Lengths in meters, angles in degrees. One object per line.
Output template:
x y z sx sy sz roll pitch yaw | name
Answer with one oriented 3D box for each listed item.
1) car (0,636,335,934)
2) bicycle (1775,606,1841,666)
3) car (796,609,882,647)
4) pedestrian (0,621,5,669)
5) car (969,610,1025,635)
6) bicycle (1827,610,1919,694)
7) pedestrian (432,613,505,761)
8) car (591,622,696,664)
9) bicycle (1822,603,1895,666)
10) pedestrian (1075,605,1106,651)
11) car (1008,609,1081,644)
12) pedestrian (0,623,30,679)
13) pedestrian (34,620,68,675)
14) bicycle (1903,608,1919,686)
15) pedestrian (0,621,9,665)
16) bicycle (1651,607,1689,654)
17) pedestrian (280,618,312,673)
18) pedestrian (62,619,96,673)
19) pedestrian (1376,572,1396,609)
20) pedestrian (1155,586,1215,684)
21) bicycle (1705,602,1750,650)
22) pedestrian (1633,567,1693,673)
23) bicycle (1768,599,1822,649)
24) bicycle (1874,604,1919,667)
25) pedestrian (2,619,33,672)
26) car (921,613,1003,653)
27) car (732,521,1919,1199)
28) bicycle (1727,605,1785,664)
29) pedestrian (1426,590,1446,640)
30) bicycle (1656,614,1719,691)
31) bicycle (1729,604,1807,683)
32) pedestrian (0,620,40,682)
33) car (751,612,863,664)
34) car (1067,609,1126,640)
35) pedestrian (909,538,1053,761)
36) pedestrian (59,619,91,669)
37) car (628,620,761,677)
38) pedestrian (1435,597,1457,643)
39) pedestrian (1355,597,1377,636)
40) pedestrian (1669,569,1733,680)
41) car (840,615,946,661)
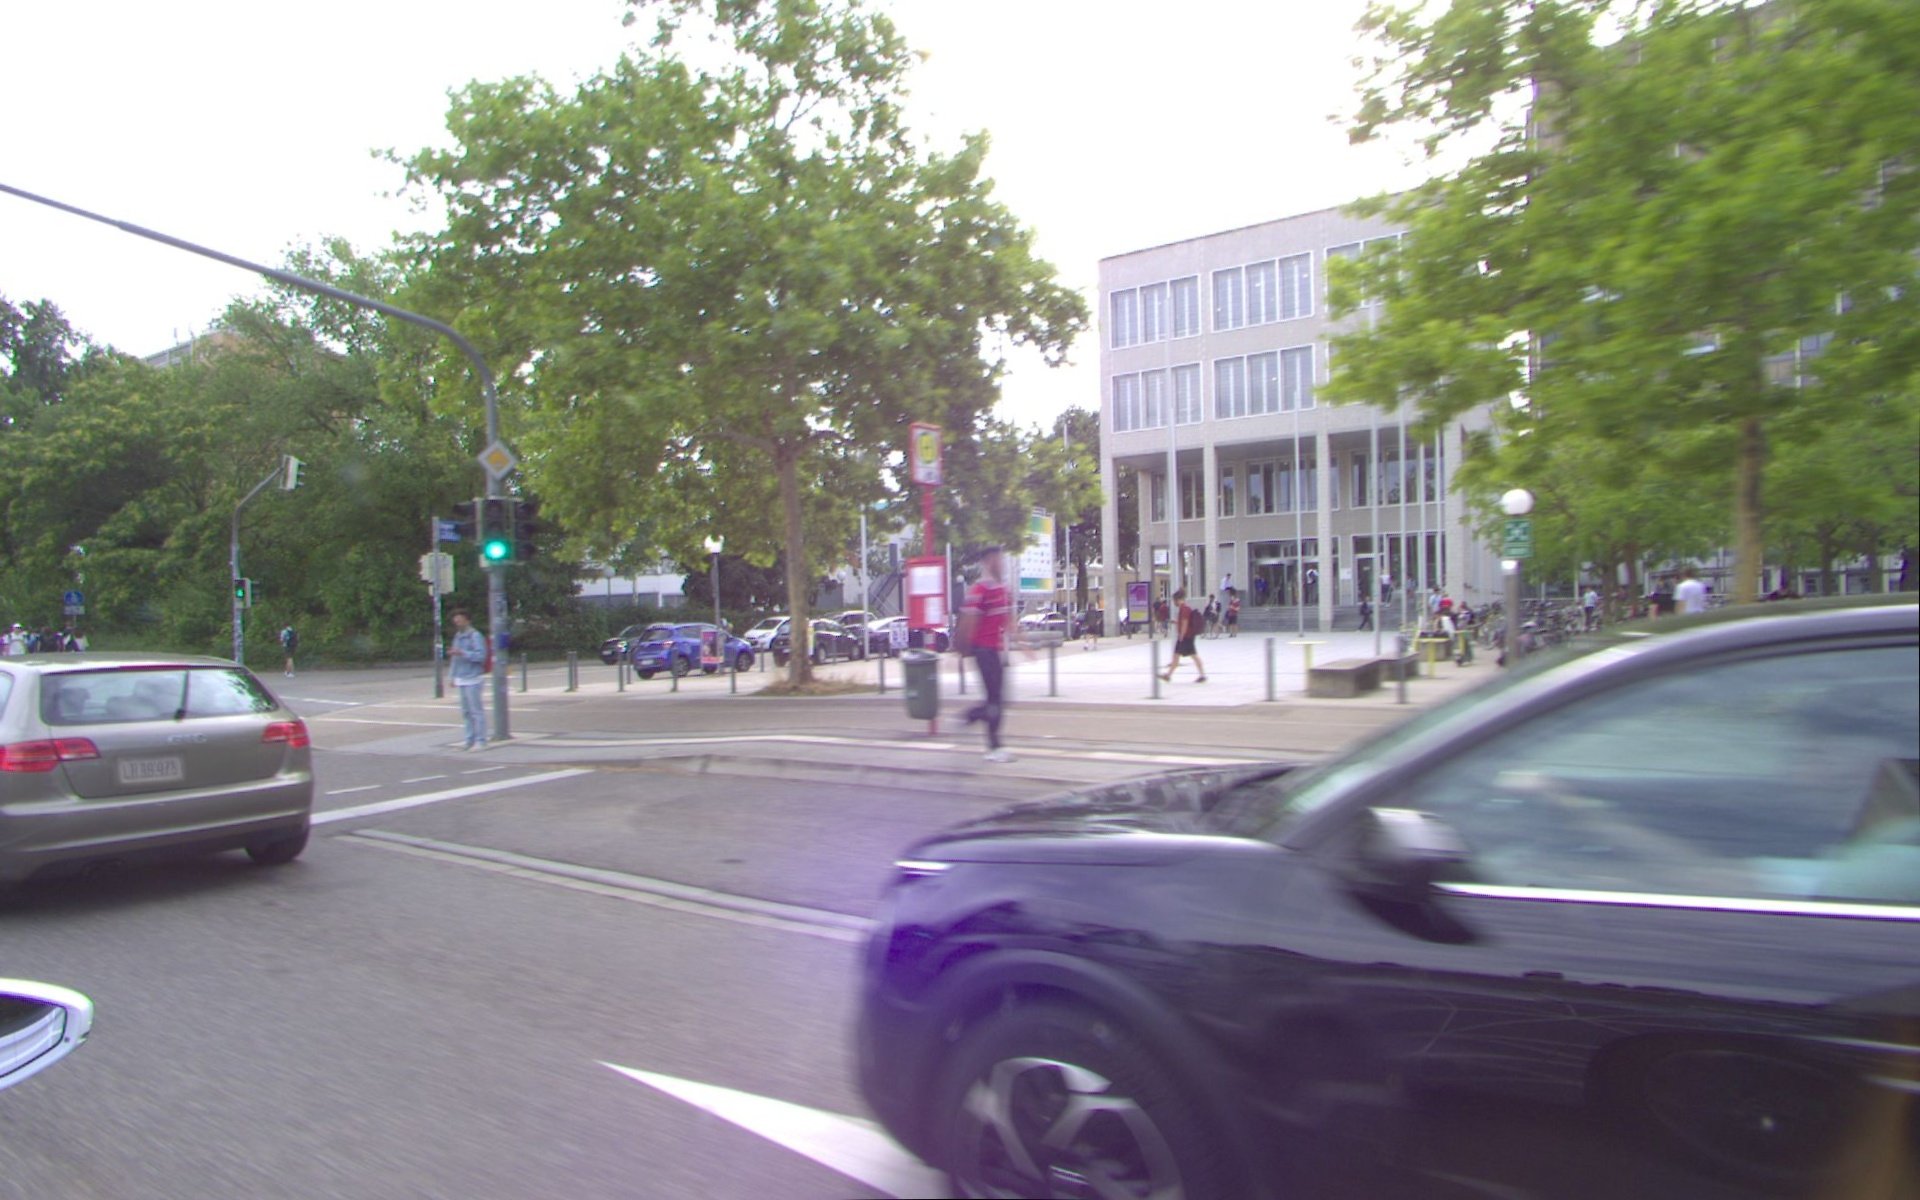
-6.049 1.016 6.755 3.684 1.476 1.720 -2 -1 33 | car
17.182 0.707 20.340 0.708 1.157 2.460 -1 -1 33 | bicycle
-5.678 1.306 47.364 1.661 1.714 4.272 -2 -2 33 | car
-38.020 1.770 39.287 0.802 1.845 0.654 -1 0 36 | pedestrian
2.290 1.357 60.864 1.661 1.460 3.763 -2 -2 33 | car
13.748 0.743 15.083 0.708 1.157 2.460 -1 -1 33 | bicycle
-6.325 1.091 12.883 0.673 1.840 0.571 -1 0 36 | pedestrian
-11.990 1.626 38.069 1.661 1.460 3.563 -2 -2 33 | car
17.816 0.662 19.899 0.708 1.157 2.460 -1 -1 33 | bicycle
4.917 1.059 37.836 0.944 1.730 0.696 1 -2 -39 | pedestrian
4.151 1.283 48.516 1.790 1.587 4.207 -2 -2 32 | car
-30.523 1.626 32.286 0.769 1.768 0.622 -1 0 34 | pedestrian
-29.956 1.563 33.002 0.769 1.768 0.655 -1 0 34 | pedestrian
14.424 0.691 14.482 0.708 1.157 2.460 -1 -1 33 | bicycle
-39.486 1.774 41.146 0.655 1.787 0.482 -1 0 36 | pedestrian
18.278 0.764 25.810 0.708 1.157 2.460 -1 -1 33 | bicycle
-22.172 1.520 33.432 0.730 1.819 0.643 -1 0 33 | pedestrian
-29.548 1.530 33.588 0.769 1.768 0.655 -1 0 34 | pedestrian
20.579 -0.463 48.395 0.665 1.736 0.627 1 -2 -40 | pedestrian
4.347 0.678 19.347 0.880 1.827 0.764 -1 -2 37 | pedestrian
19.257 0.646 25.152 0.708 1.157 2.460 -1 -1 33 | bicycle
13.368 0.386 19.048 0.591 1.988 0.686 0 -1 -7 | pedestrian
20.346 0.584 24.436 0.708 1.157 2.460 -1 -1 33 | bicycle
18.504 0.659 19.443 0.708 1.157 2.460 -1 -1 33 | bicycle
-31.887 1.526 33.876 0.779 1.768 0.579 -1 0 34 | pedestrian
0.127 1.352 41.820 1.651 1.587 3.812 -2 -2 32 | car
1.648 0.697 1.971 4.120 1.576 1.794 -1 -1 35 | car
16.503 0.697 20.801 0.708 1.157 2.460 -1 -1 33 | bicycle
18.079 0.567 38.051 0.592 1.867 0.727 -1 -1 18 | pedestrian
11.922 0.826 16.457 0.708 1.157 2.460 -1 -1 33 | bicycle
12.766 0.650 15.879 0.708 1.157 2.460 -1 -1 33 | bicycle
-28.999 1.575 30.884 0.815 1.876 0.645 -1 -1 21 | pedestrian
-5.024 1.237 33.233 1.651 1.587 3.676 -2 -2 32 | car
7.355 1.293 53.808 1.651 1.587 3.969 -2 -2 32 | car
0.188 0.432 9.000 1.049 1.877 0.724 -1 0 31 | pedestrian
-31.486 1.557 35.642 0.769 1.768 0.655 -1 0 34 | pedestrian
-7.645 1.374 29.086 1.651 1.510 3.564 -2 -2 32 | car
17.435 0.726 35.932 0.592 1.617 0.726 -1 -1 20 | pedestrian
17.425 0.724 42.953 0.625 1.661 0.599 0 -2 -34 | pedestrian
13.439 0.446 18.179 0.591 1.988 0.686 0 -1 -7 | pedestrian
-2.412 1.382 37.383 1.651 1.587 4.430 -2 -2 32 | car
